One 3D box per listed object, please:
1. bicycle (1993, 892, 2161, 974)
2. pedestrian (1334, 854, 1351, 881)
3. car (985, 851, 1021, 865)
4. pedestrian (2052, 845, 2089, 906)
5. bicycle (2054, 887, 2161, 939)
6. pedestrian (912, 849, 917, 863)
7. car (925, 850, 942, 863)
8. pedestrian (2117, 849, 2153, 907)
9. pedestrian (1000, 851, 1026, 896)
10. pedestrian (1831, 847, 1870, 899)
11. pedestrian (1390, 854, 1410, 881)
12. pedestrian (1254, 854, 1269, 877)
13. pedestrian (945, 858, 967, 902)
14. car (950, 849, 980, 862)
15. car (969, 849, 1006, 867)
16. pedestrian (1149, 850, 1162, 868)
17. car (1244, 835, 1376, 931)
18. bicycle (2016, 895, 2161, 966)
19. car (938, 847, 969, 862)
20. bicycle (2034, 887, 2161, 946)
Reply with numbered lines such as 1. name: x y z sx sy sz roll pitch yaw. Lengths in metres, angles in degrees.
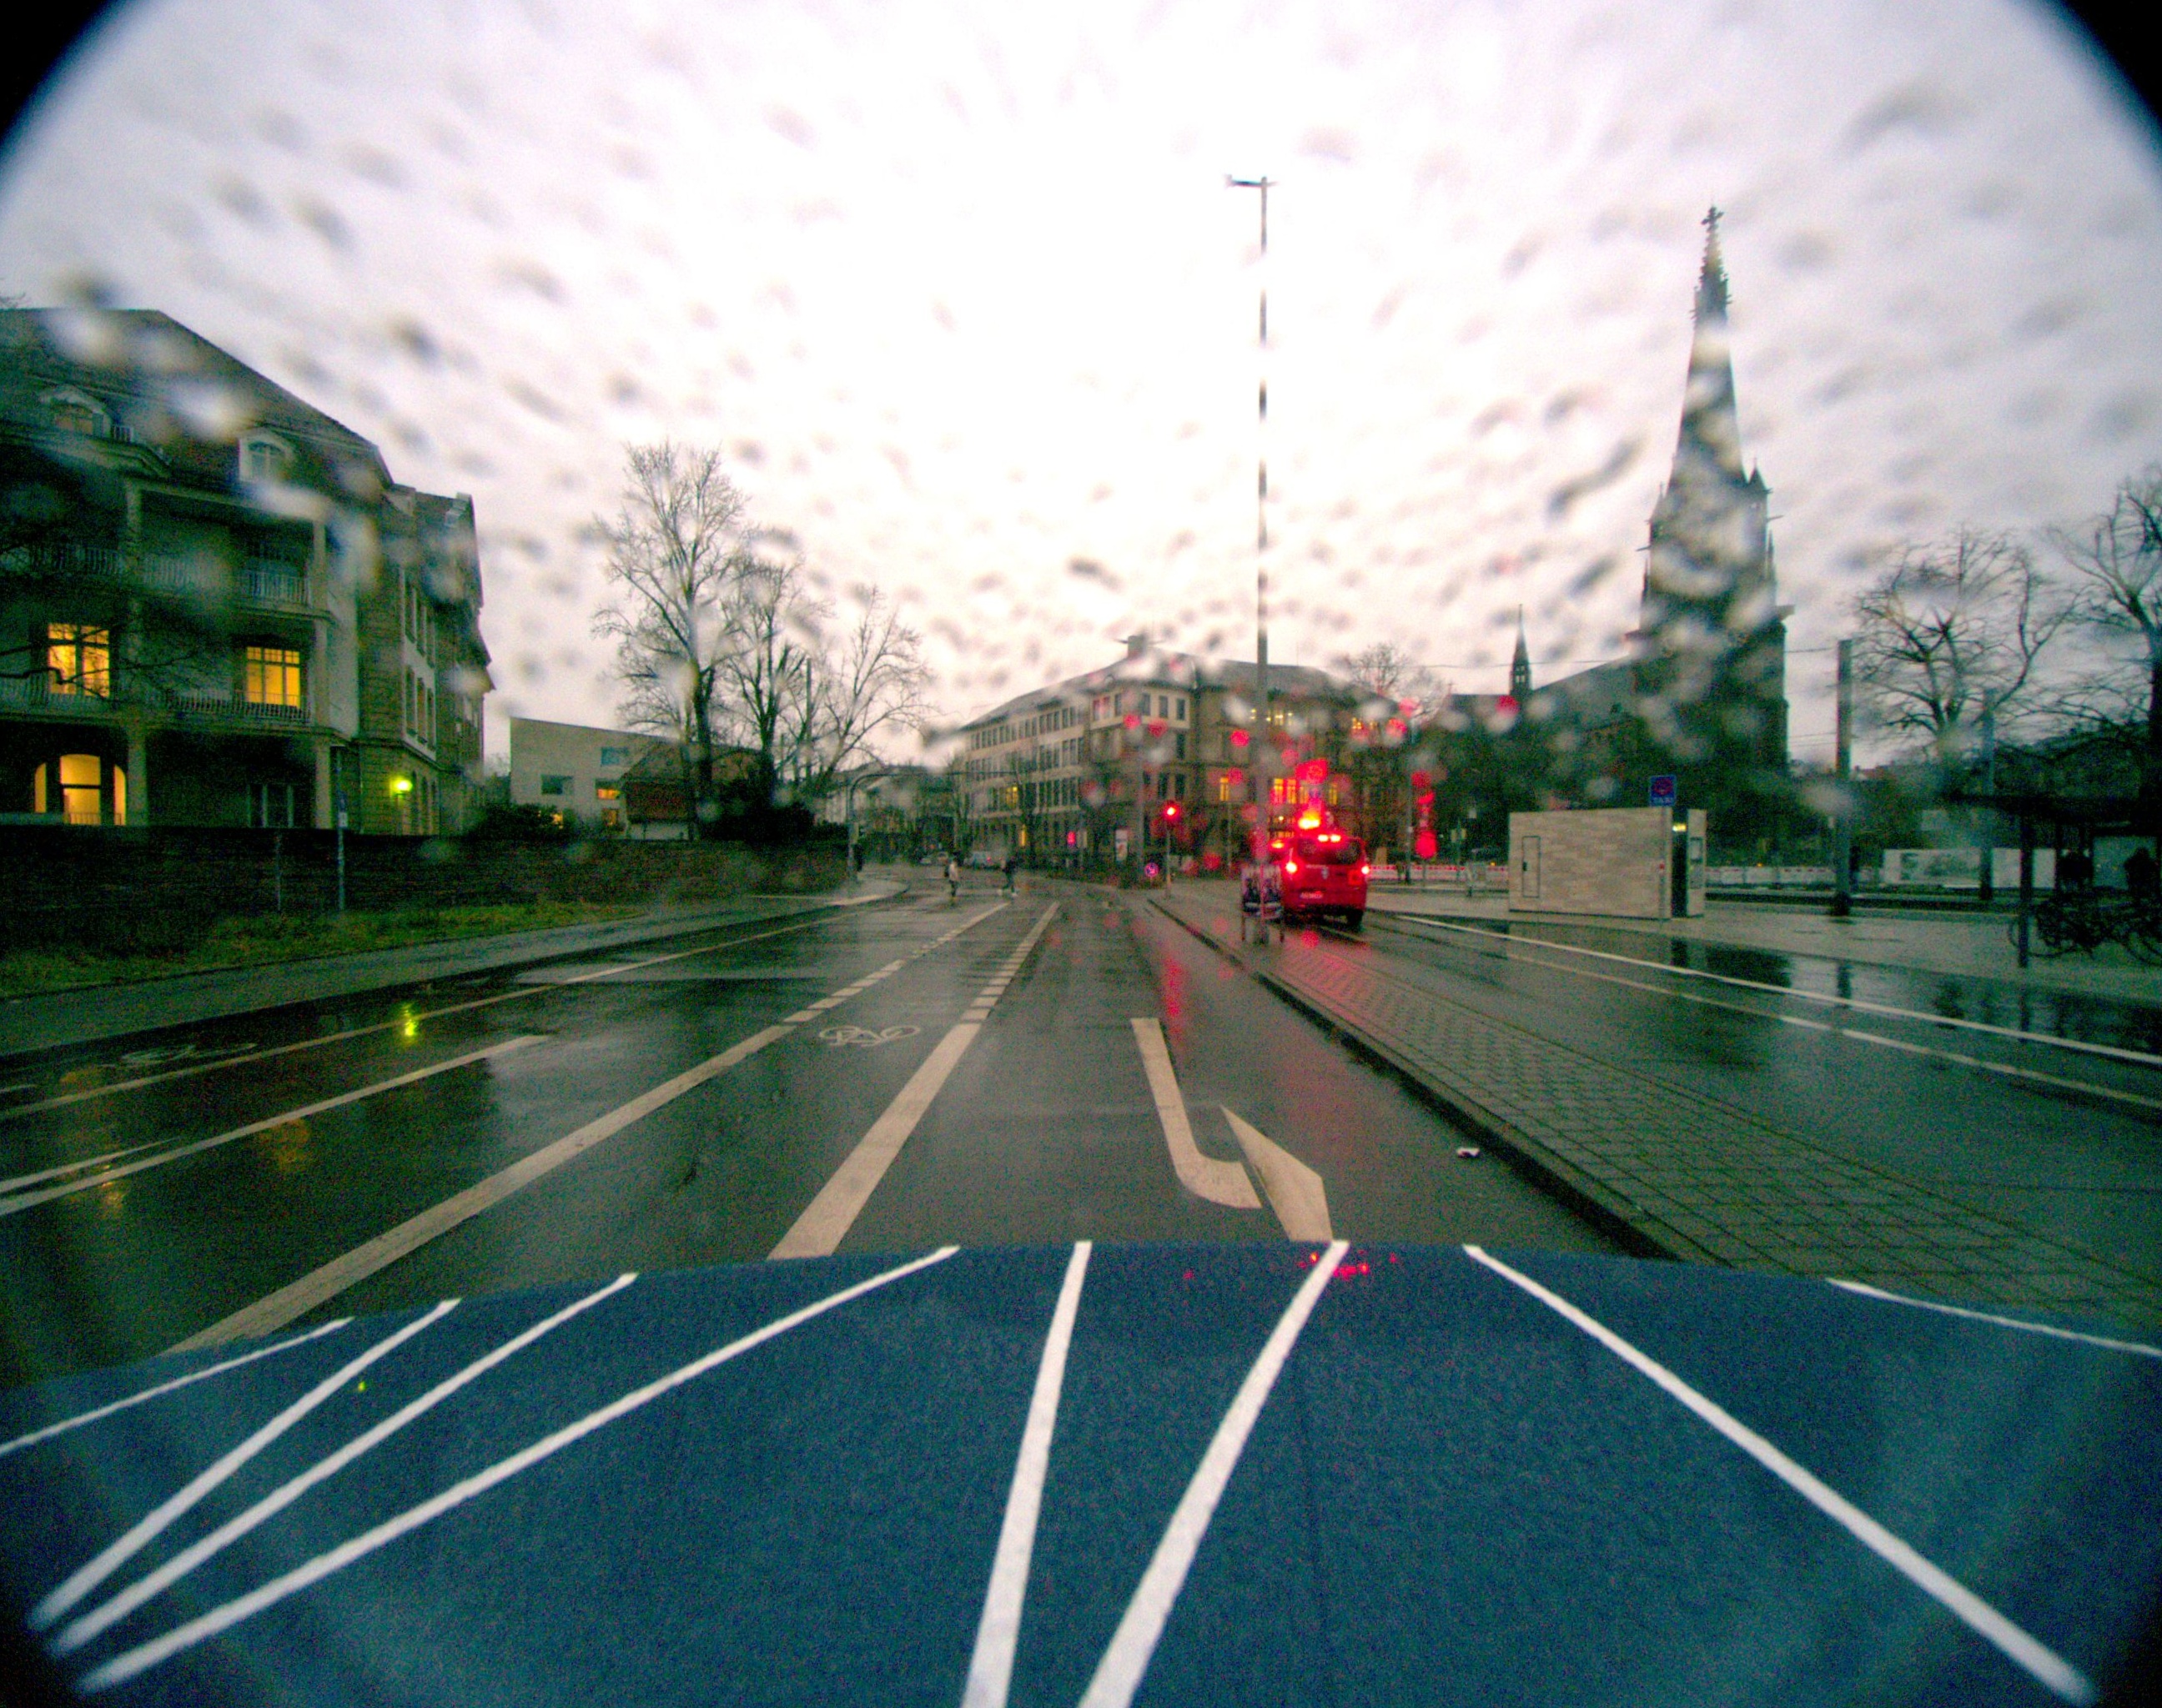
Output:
1. bicycle: 15.491 1.186 11.611 0.475 1.064 1.921 -2 2 -30
2. pedestrian: 18.654 0.928 54.167 0.675 1.890 0.972 0 1 -22
3. car: -9.289 0.479 90.535 1.797 1.541 4.007 -1 1 45
4. pedestrian: 30.227 0.649 23.215 0.673 1.785 0.626 -3 2 -41
5. bicycle: 20.835 1.167 15.014 0.475 0.905 1.921 -2 2 -30
6. pedestrian: -24.996 0.308 114.035 0.476 2.002 0.546 0 1 -34
7. car: -20.745 0.367 106.845 2.000 1.660 3.997 -2 1 -7
8. pedestrian: 31.040 0.698 22.386 0.541 1.642 0.562 -3 2 -41
9. pedestrian: -2.885 0.829 32.132 1.000 1.890 0.673 0 1 -15
10. pedestrian: 26.928 0.650 26.598 0.671 1.785 0.825 -3 1 -34
11. pedestrian: 19.917 0.830 47.410 0.773 1.651 1.208 -2 1 4
12. pedestrian: 14.303 0.927 60.150 0.675 1.806 0.895 0 2 -42
13. pedestrian: -4.971 1.018 30.164 0.798 1.713 0.674 1 1 -5
14. car: -15.100 0.196 99.405 1.797 1.541 4.007 -2 1 28
15. car: -10.620 0.457 86.069 3.989 1.835 1.888 -1 1 43
16. pedestrian: 7.248 0.499 73.875 0.829 1.714 0.926 0 0 -37
17. car: 5.464 0.617 18.834 1.928 2.058 4.644 1 0 1
18. bicycle: 16.609 1.219 12.215 0.475 0.980 1.921 -2 2 -30
19. car: -17.005 0.072 101.470 2.043 1.889 4.007 -2 1 28
20. bicycle: 19.684 1.174 14.427 0.475 0.980 1.921 -2 2 -30
